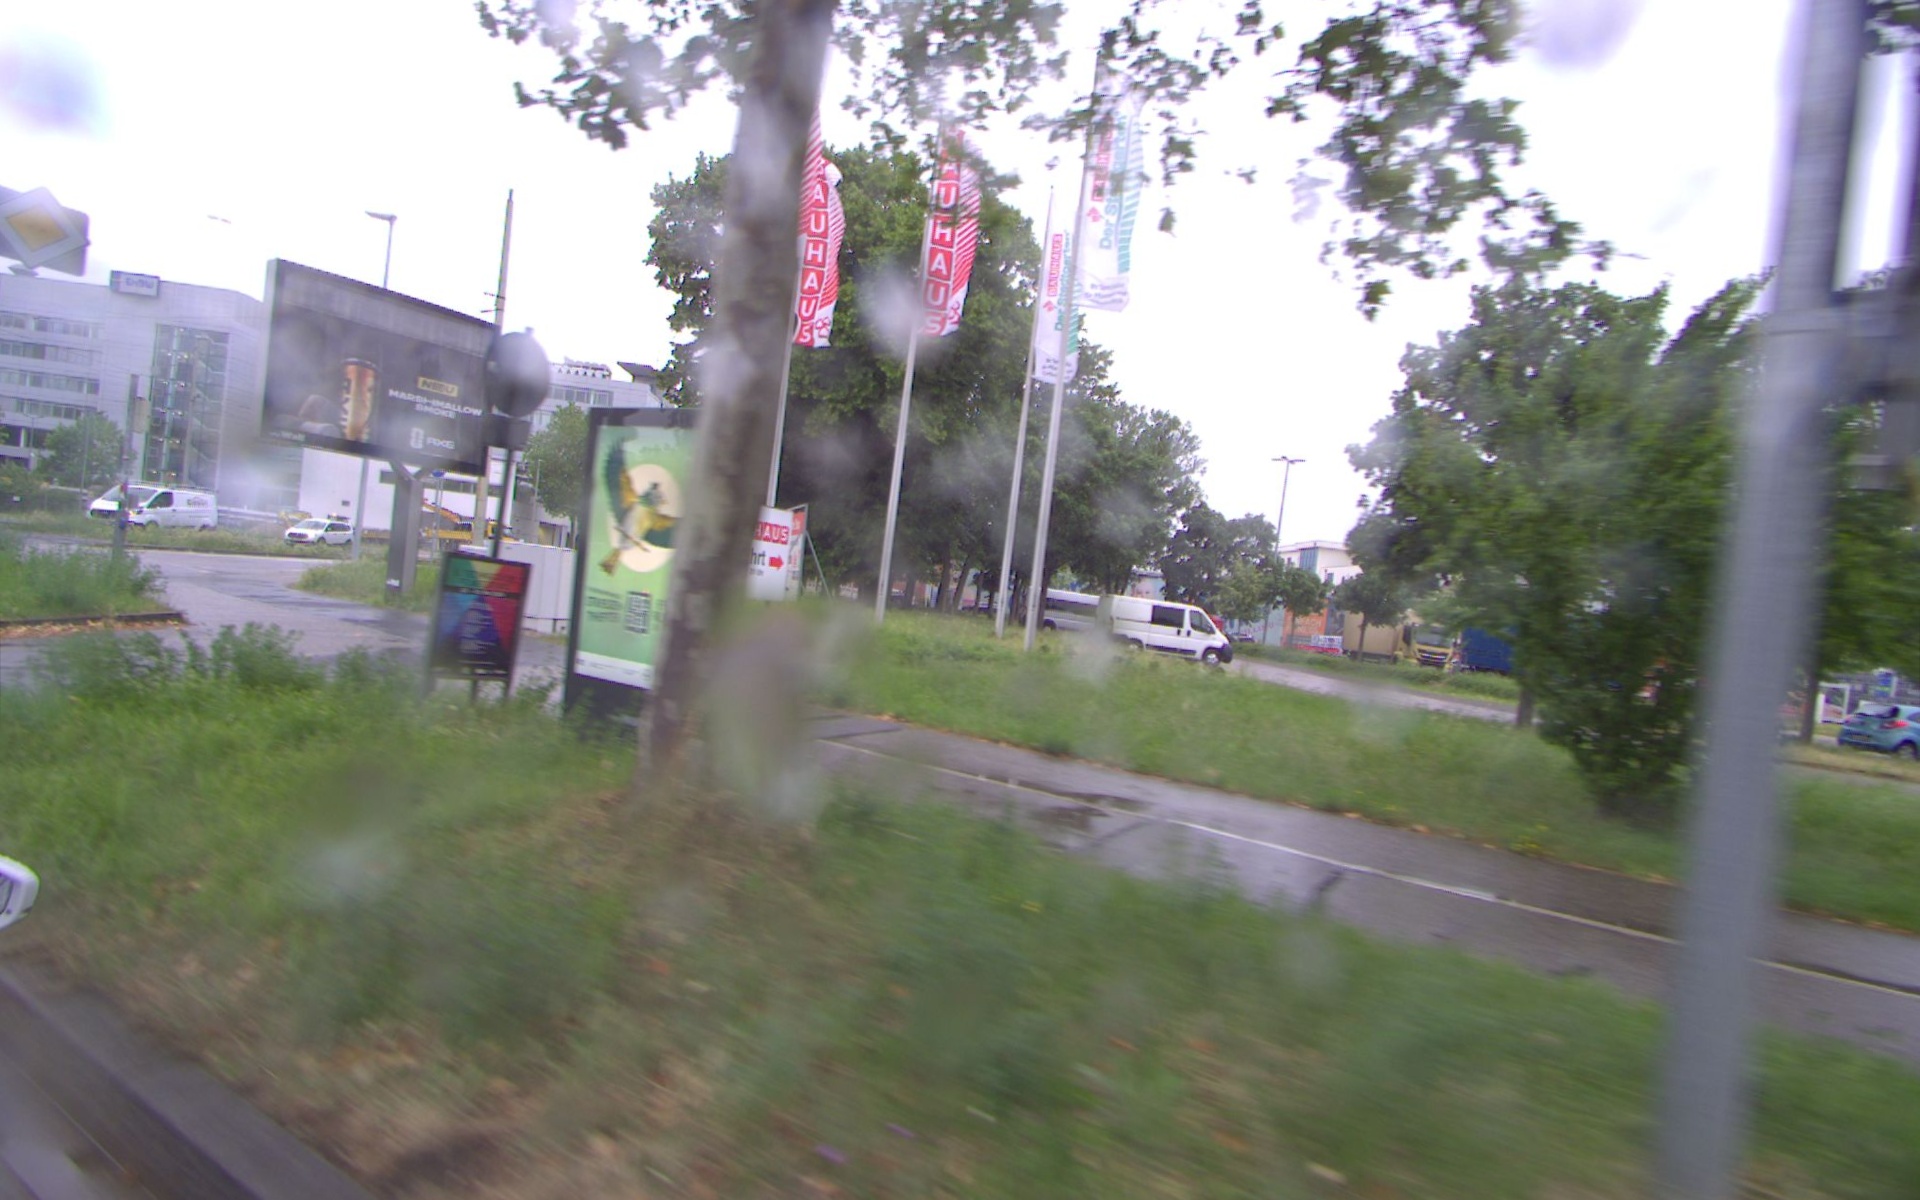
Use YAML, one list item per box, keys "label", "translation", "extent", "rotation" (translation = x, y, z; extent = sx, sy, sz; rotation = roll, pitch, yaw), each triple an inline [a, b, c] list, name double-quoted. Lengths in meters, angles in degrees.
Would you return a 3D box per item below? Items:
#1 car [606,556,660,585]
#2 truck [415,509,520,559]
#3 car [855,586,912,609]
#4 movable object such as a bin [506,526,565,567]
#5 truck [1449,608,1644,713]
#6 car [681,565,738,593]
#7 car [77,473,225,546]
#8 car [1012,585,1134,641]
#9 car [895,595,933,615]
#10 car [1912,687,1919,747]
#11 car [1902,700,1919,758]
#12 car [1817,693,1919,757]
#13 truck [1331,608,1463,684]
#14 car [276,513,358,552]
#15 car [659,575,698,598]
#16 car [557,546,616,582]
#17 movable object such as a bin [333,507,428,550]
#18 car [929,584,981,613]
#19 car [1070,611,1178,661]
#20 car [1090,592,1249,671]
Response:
- label: "car"
  translation: [-21.014, -1.867, 64.840]
  extent: [1.892, 1.509, 4.828]
  rotation: [6, 0, -2]
- label: "truck"
  translation: [-45.338, -6.077, 92.881]
  extent: [7.747, 3.552, 3.325]
  rotation: [6, 1, -4]
- label: "car"
  translation: [-8.052, -0.265, 106.552]
  extent: [5.853, 1.753, 2.276]
  rotation: [6, 1, -3]
- label: "movable object such as a bin"
  translation: [-42.834, -5.331, 101.694]
  extent: [3.268, 3.551, 6.316]
  rotation: [6, 1, -3]
- label: "truck"
  translation: [24.007, 2.314, 41.833]
  extent: [2.507, 3.512, 8.009]
  rotation: [8, 0, -4]
- label: "car"
  translation: [-25.182, -2.091, 101.284]
  extent: [5.279, 2.037, 1.996]
  rotation: [8, -2, -13]
- label: "car"
  translation: [-30.713, -3.377, 38.395]
  extent: [1.964, 2.152, 4.684]
  rotation: [6, 0, -5]
- label: "car"
  translation: [5.921, 0.662, 53.101]
  extent: [5.955, 2.232, 2.190]
  rotation: [7, 1, -2]
- label: "car"
  translation: [-4.689, 0.500, 102.196]
  extent: [3.749, 1.509, 1.677]
  rotation: [7, -1, -5]
- label: "car"
  translation: [41.046, 4.987, 39.430]
  extent: [5.420, 2.391, 2.328]
  rotation: [7, 0, -7]
- label: "car"
  translation: [24.498, 3.272, 22.920]
  extent: [3.972, 1.309, 1.869]
  rotation: [7, 1, 8]
- label: "car"
  translation: [25.049, 3.383, 26.254]
  extent: [3.980, 1.309, 1.865]
  rotation: [6, 1, -9]
- label: "truck"
  translation: [23.843, 2.365, 55.630]
  extent: [2.507, 3.511, 9.398]
  rotation: [8, -1, -2]
- label: "car"
  translation: [-35.324, -3.683, 55.407]
  extent: [1.744, 1.641, 4.378]
  rotation: [6, 0, -4]
- label: "car"
  translation: [-22.068, -1.047, 78.972]
  extent: [1.892, 1.606, 4.622]
  rotation: [6, 0, -3]
- label: "car"
  translation: [-20.404, -1.935, 55.094]
  extent: [1.647, 1.508, 3.818]
  rotation: [7, -1, 1]
- label: "movable object such as a bin"
  translation: [-53.254, -6.542, 92.568]
  extent: [6.601, 3.034, 3.325]
  rotation: [6, 1, -4]
- label: "car"
  translation: [-0.503, -0.187, 96.066]
  extent: [4.670, 2.240, 1.964]
  rotation: [6, 1, -2]
- label: "car"
  translation: [6.844, 1.495, 42.322]
  extent: [3.932, 1.616, 1.996]
  rotation: [7, 0, -9]
- label: "car"
  translation: [7.531, 1.106, 36.401]
  extent: [5.015, 2.232, 2.188]
  rotation: [7, 0, -9]
